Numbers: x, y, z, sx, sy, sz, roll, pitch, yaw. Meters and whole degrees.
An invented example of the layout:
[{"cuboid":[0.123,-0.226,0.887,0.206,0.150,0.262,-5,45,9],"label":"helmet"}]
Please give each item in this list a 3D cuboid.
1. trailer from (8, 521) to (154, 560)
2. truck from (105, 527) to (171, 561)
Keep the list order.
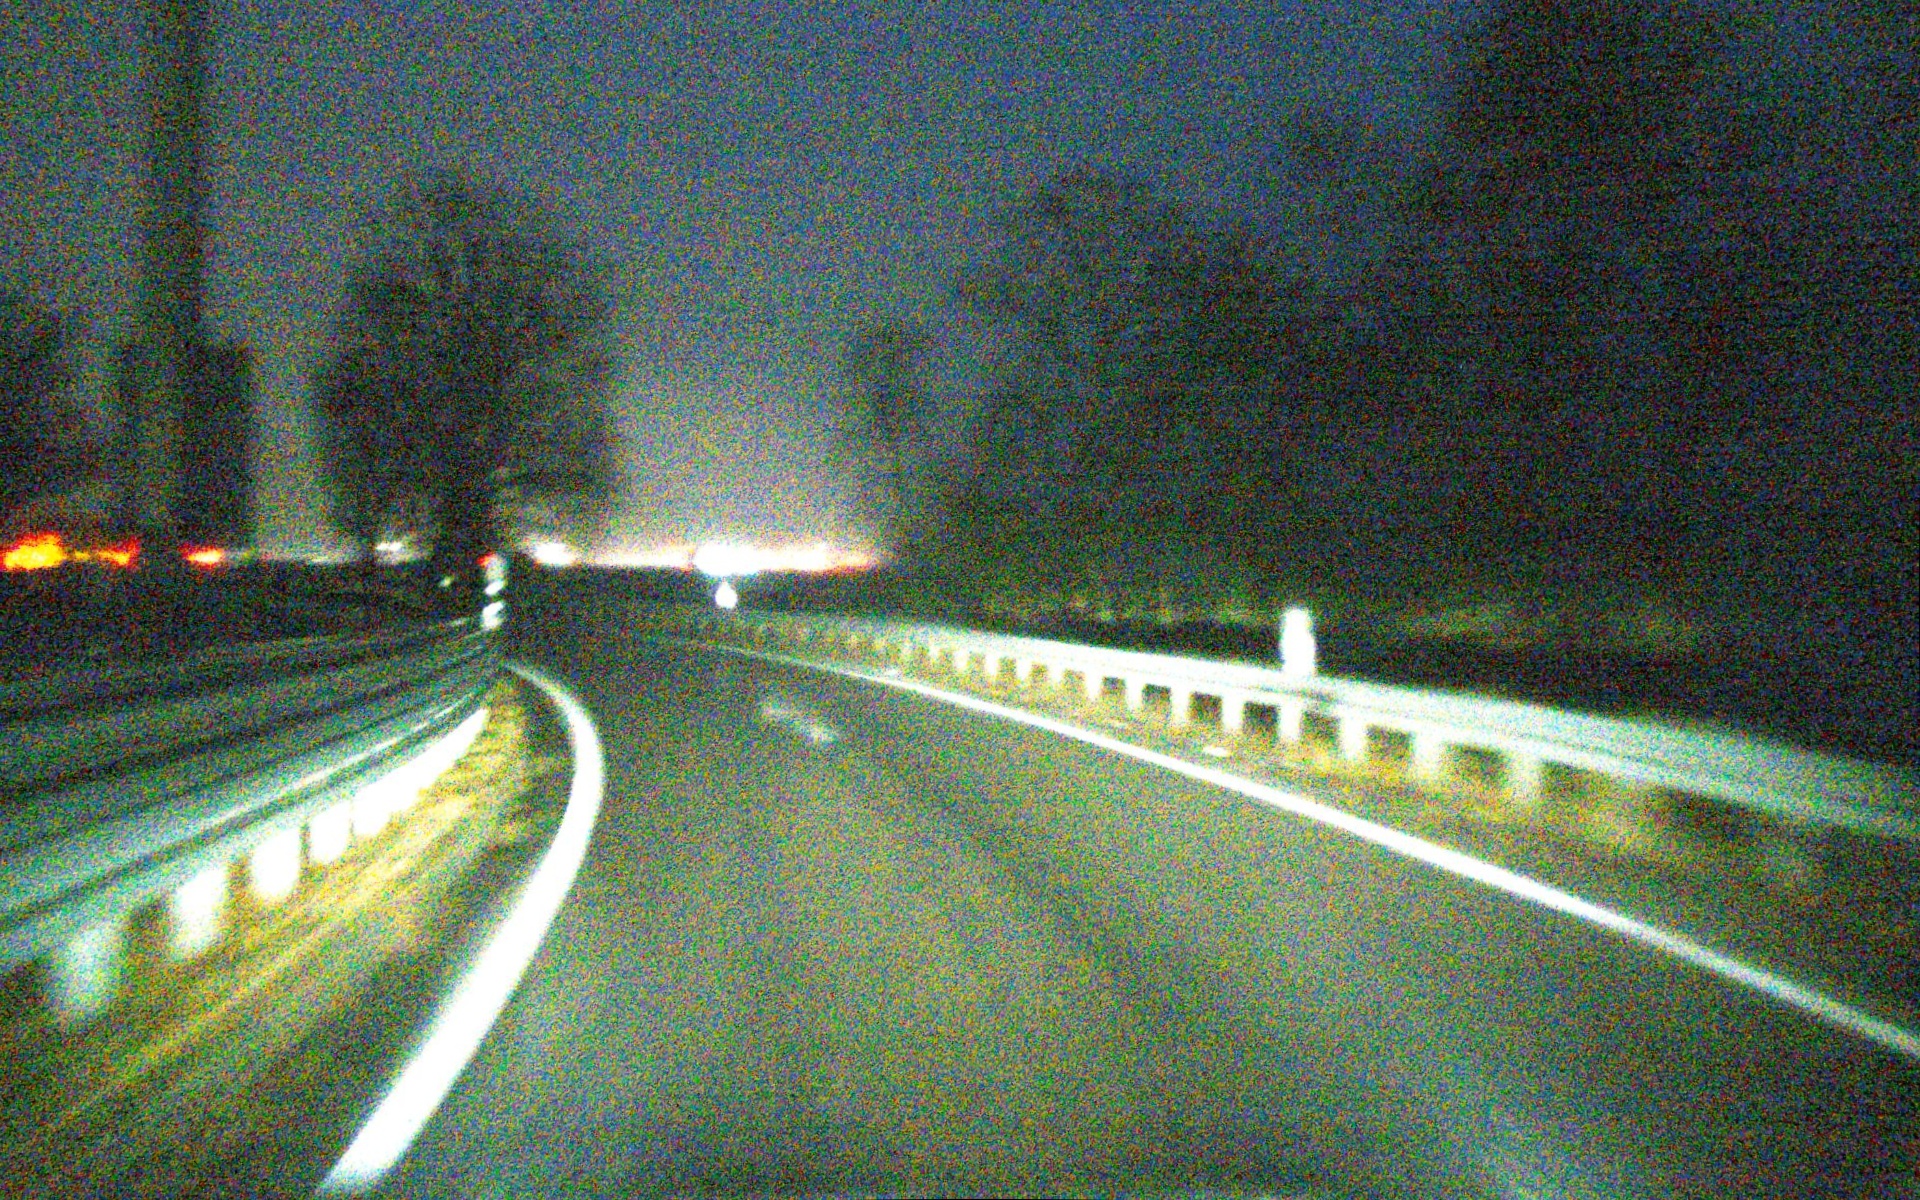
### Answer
[{"cuboid":[-74.652,-4.968,140.977,2.631,2.746,12.865,3,1,16],"label":"trailer"},{"cuboid":[-72.925,-4.965,146.883,2.621,2.737,4.760,3,1,16],"label":"truck"}]
